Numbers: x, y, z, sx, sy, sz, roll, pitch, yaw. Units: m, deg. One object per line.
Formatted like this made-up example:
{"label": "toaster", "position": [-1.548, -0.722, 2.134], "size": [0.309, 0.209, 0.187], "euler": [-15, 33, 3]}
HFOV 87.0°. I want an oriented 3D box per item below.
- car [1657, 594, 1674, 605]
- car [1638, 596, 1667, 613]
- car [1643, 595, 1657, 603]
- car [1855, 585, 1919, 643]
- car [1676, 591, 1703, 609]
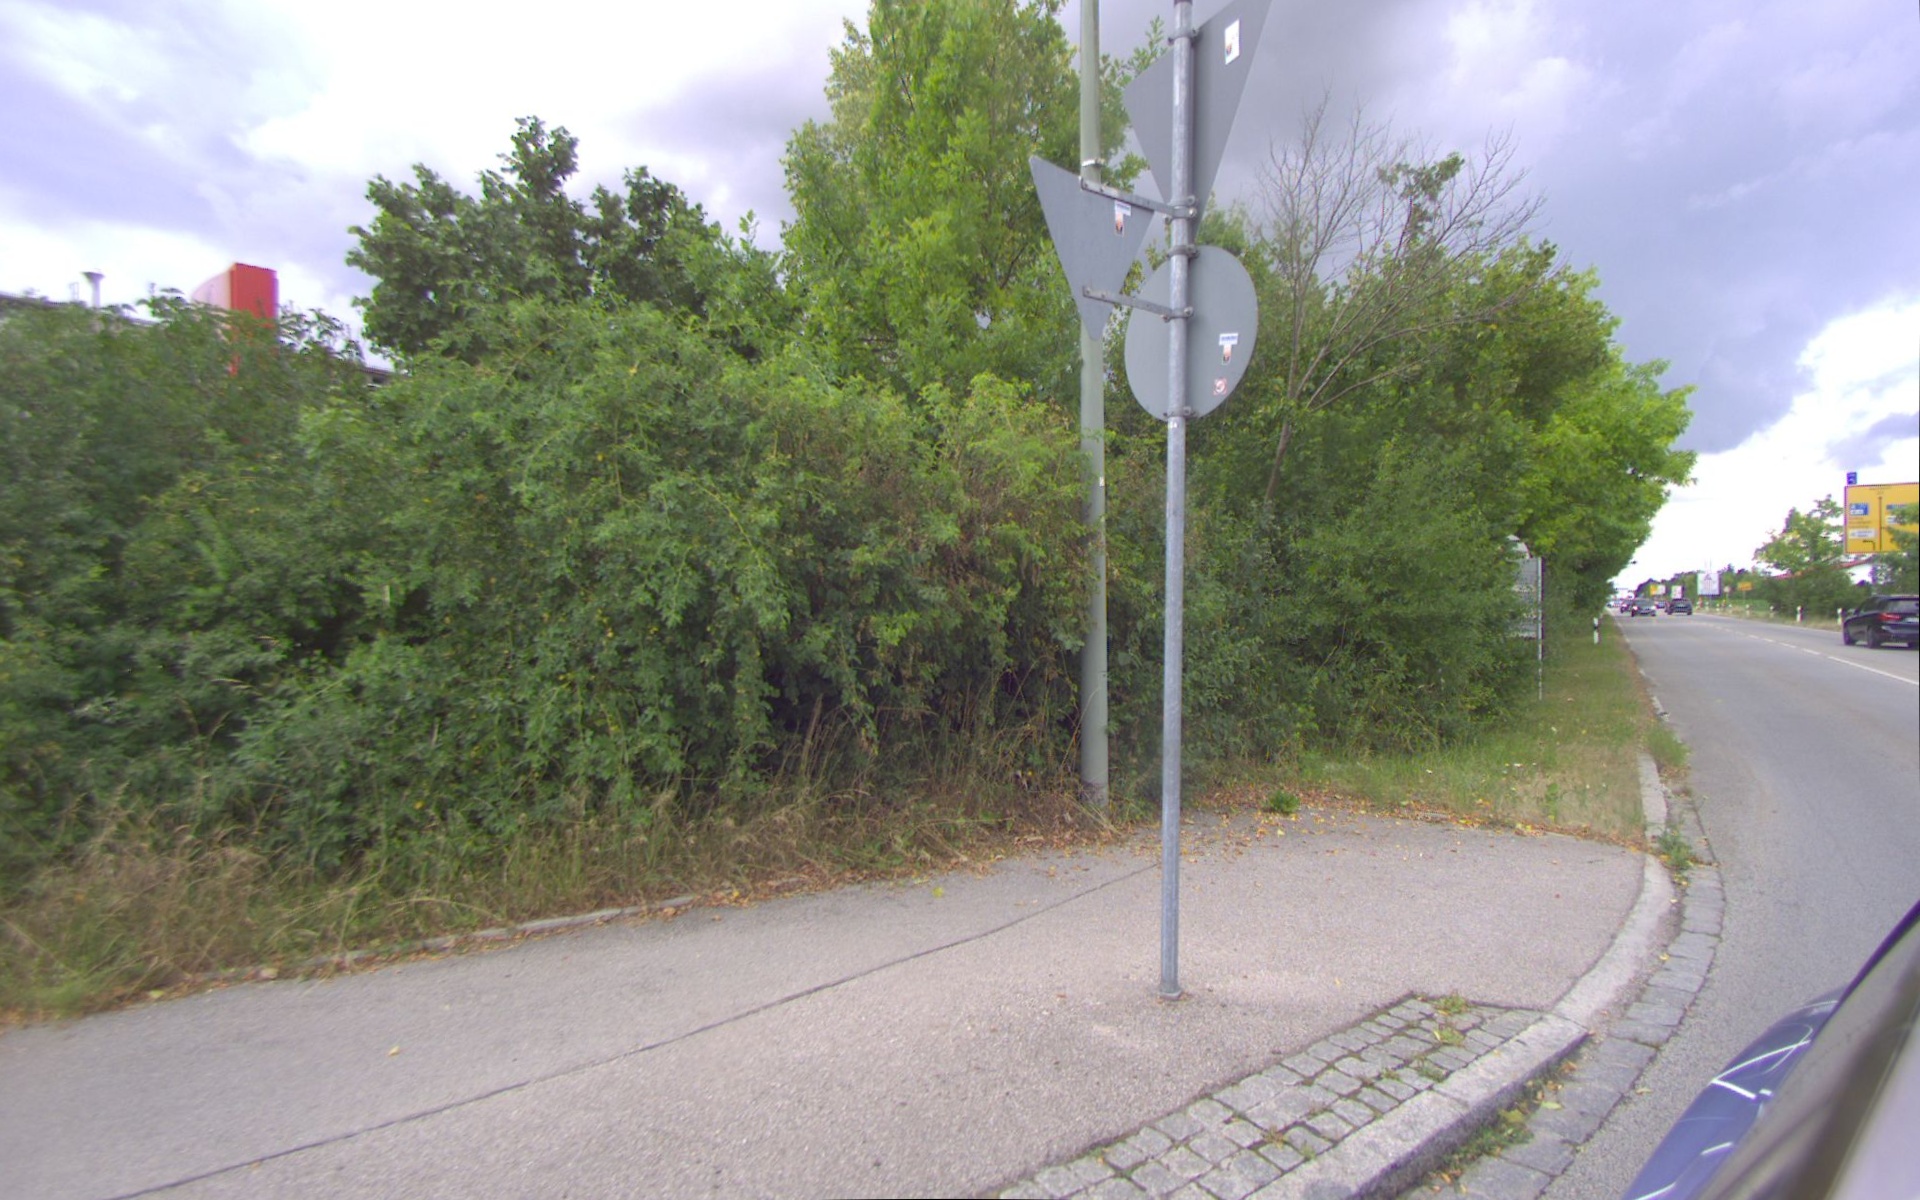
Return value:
{"label": "car", "position": [98.569, -0.029, 141.453], "size": [1.808, 1.512, 4.155], "euler": [1, 1, 32]}
{"label": "car", "position": [58.380, 0.380, 85.382], "size": [1.857, 1.377, 3.782], "euler": [0, 0, 33]}
{"label": "car", "position": [119.354, -0.192, 175.067], "size": [1.844, 1.483, 4.320], "euler": [1, 1, 32]}
{"label": "car", "position": [28.296, 0.391, 30.097], "size": [1.730, 1.605, 4.307], "euler": [2, 1, 31]}
{"label": "car", "position": [66.814, -0.004, 92.726], "size": [1.726, 1.553, 4.047], "euler": [2, 1, 33]}
